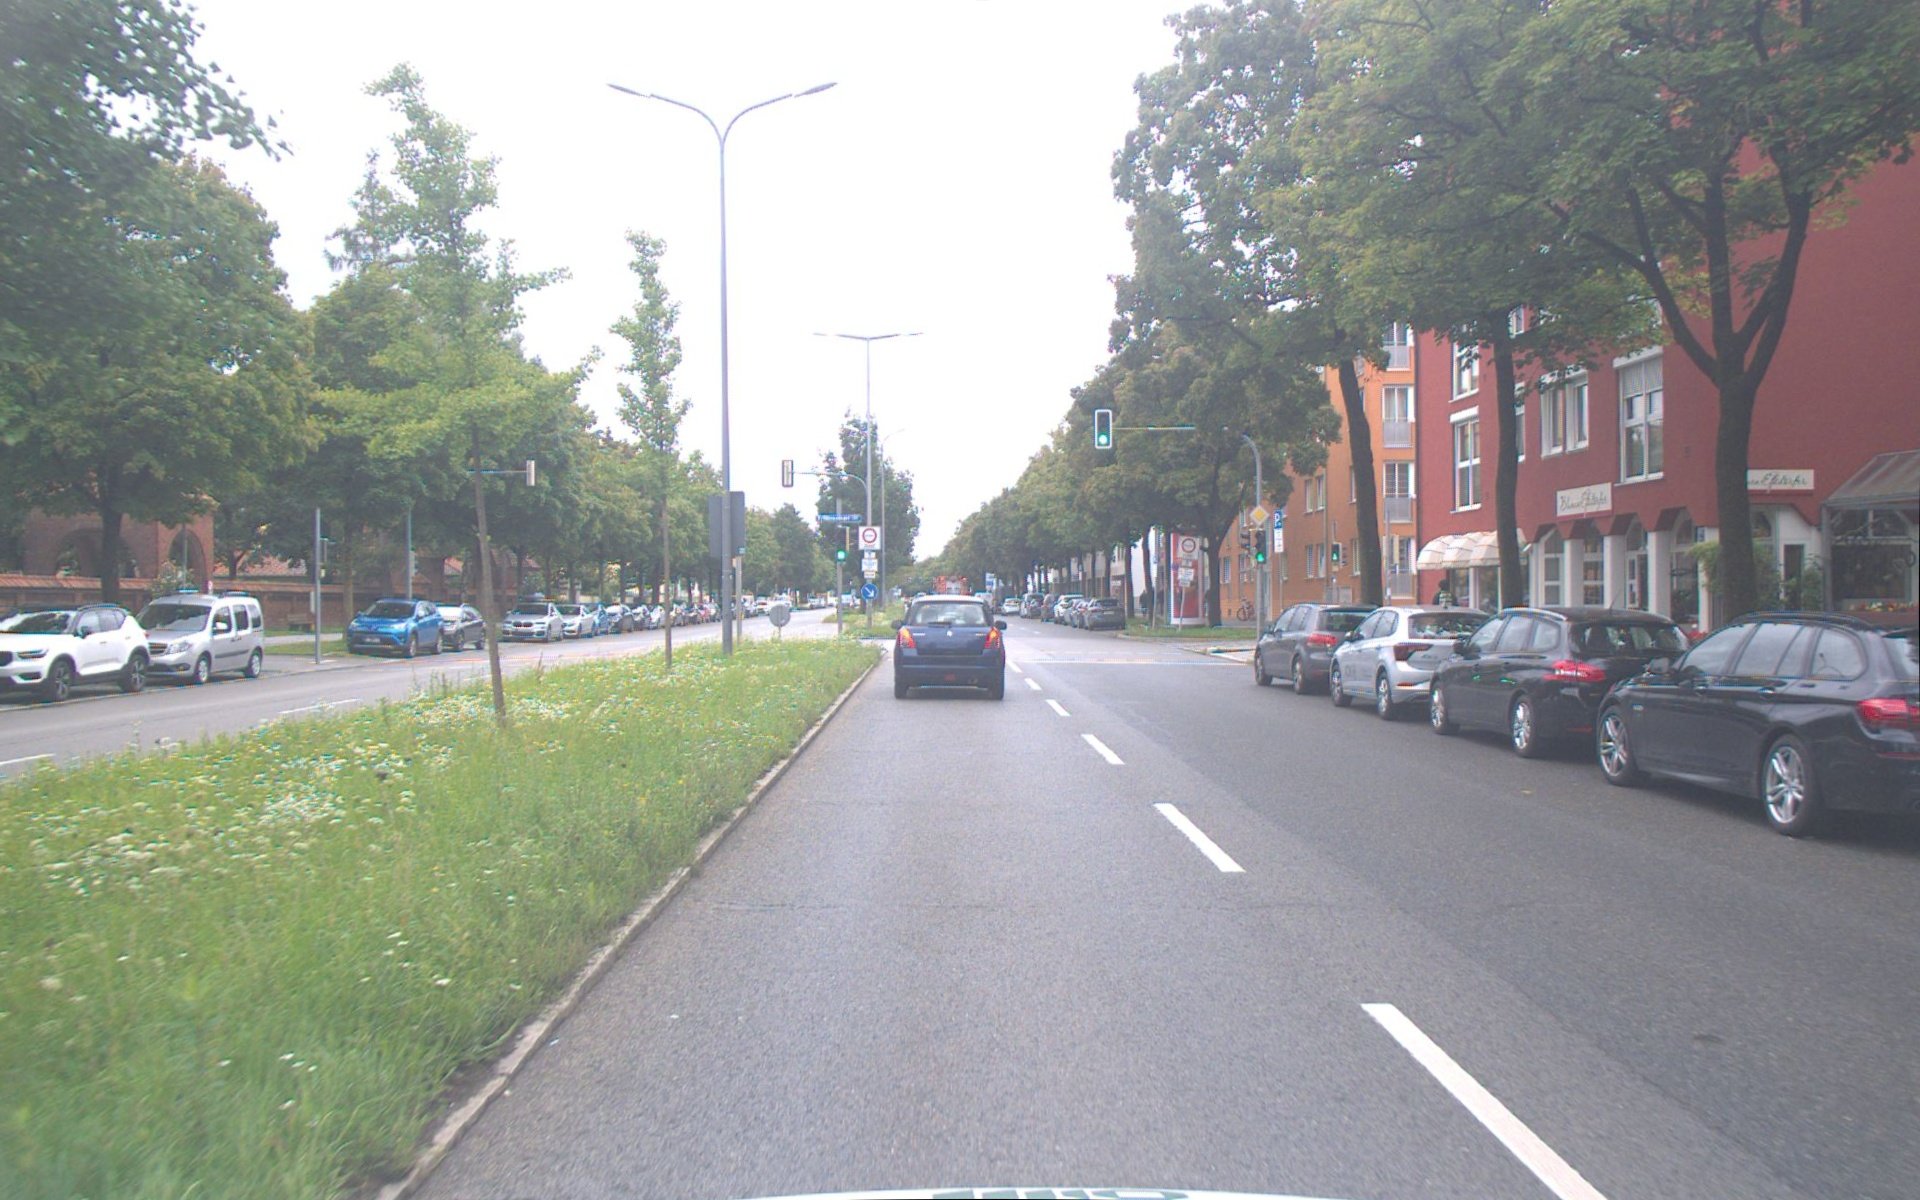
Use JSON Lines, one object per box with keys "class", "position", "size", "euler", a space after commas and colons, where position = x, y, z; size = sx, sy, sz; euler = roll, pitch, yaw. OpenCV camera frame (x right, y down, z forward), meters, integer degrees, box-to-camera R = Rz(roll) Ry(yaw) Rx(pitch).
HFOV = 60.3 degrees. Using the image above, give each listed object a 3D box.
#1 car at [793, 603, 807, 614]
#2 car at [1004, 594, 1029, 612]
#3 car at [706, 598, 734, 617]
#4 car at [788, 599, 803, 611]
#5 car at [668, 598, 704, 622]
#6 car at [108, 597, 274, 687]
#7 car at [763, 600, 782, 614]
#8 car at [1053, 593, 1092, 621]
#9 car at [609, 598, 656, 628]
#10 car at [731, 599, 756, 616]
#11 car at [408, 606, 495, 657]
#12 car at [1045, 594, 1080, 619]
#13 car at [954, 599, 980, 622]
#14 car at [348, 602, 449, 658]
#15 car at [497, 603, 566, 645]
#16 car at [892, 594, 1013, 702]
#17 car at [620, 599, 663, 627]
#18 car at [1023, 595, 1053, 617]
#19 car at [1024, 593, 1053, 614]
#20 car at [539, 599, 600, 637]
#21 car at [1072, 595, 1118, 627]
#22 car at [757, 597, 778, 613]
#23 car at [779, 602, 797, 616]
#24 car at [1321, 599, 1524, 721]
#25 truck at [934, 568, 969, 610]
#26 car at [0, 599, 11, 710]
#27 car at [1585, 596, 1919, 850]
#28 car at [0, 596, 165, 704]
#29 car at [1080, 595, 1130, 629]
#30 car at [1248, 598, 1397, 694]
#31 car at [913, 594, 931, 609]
{"class": "car", "position": [-23.512, 1.280, 243.589], "size": [1.765, 1.561, 3.999], "euler": [-1, 0, -1]}
{"class": "car", "position": [4.873, 0.265, 143.164], "size": [1.953, 1.557, 3.999], "euler": [-1, 0, -1]}
{"class": "car", "position": [-19.756, 0.608, 136.513], "size": [1.765, 1.561, 3.999], "euler": [-1, 0, -1]}
{"class": "car", "position": [-22.171, 0.677, 222.943], "size": [1.765, 1.561, 3.999], "euler": [-1, 0, -1]}
{"class": "car", "position": [-18.298, 0.669, 110.568], "size": [1.765, 1.561, 3.999], "euler": [0, 0, -1]}
{"class": "car", "position": [-16.115, 0.834, 34.872], "size": [1.672, 1.764, 3.999], "euler": [-1, 0, -1]}
{"class": "car", "position": [-21.486, 0.751, 189.610], "size": [1.765, 1.561, 3.999], "euler": [-1, 0, -1]}
{"class": "car", "position": [6.538, 0.394, 96.333], "size": [1.953, 1.557, 3.999], "euler": [-1, 0, -1]}
{"class": "car", "position": [-17.752, 0.697, 89.824], "size": [1.765, 1.561, 3.999], "euler": [-1, 0, -1]}
{"class": "car", "position": [-19.538, 0.665, 149.459], "size": [1.765, 1.561, 3.999], "euler": [-1, 0, -1]}
{"class": "car", "position": [-16.774, 1.011, 54.716], "size": [1.672, 1.561, 3.999], "euler": [-1, 0, -1]}
{"class": "car", "position": [6.583, 0.413, 106.935], "size": [1.953, 1.557, 3.999], "euler": [-1, 0, -1]}
{"class": "car", "position": [0.486, 0.734, 119.103], "size": [1.784, 1.503, 4.690], "euler": [2, 0, -1]}
{"class": "car", "position": [-16.624, 0.862, 49.179], "size": [1.672, 1.561, 3.999], "euler": [-1, 0, -1]}
{"class": "car", "position": [-17.021, 0.925, 65.888], "size": [1.765, 1.561, 3.999], "euler": [-1, 0, -1]}
{"class": "car", "position": [-0.103, 0.675, 25.594], "size": [1.717, 1.531, 4.000], "euler": [0, 0, 0]}
{"class": "car", "position": [-18.235, 0.715, 94.832], "size": [1.765, 1.561, 3.999], "euler": [-1, 0, -1]}
{"class": "car", "position": [5.630, 0.436, 119.528], "size": [1.953, 1.557, 3.999], "euler": [-1, 0, -1]}
{"class": "car", "position": [5.877, 0.265, 124.279], "size": [1.953, 1.557, 3.999], "euler": [-1, 0, -1]}
{"class": "car", "position": [-17.040, 0.770, 72.333], "size": [1.765, 1.561, 3.999], "euler": [-1, 0, -1]}
{"class": "car", "position": [6.825, 0.538, 84.089], "size": [1.953, 1.557, 3.999], "euler": [-1, 0, -1]}
{"class": "car", "position": [-19.538, 0.488, 168.101], "size": [1.765, 1.561, 3.999], "euler": [-1, 0, -1]}
{"class": "car", "position": [-20.443, 1.096, 197.122], "size": [1.765, 1.561, 3.999], "euler": [-1, 0, -1]}
{"class": "car", "position": [6.173, 0.742, 22.530], "size": [1.660, 1.477, 4.123], "euler": [-1, 0, 1]}
{"class": "truck", "position": [-0.708, -0.941, 149.171], "size": [2.979, 3.619, 13.674], "euler": [0, 0, 0]}
{"class": "car", "position": [-16.291, 0.872, 24.377], "size": [2.142, 1.766, 4.575], "euler": [0, 0, -3]}
{"class": "car", "position": [6.297, 0.722, 12.131], "size": [1.620, 1.477, 4.708], "euler": [-1, 0, 0]}
{"class": "car", "position": [-16.296, 0.819, 29.570], "size": [2.142, 1.766, 4.575], "euler": [0, 0, -3]}
{"class": "car", "position": [6.826, 0.538, 78.099], "size": [1.953, 1.557, 3.999], "euler": [-1, 0, -1]}
{"class": "car", "position": [6.035, 0.717, 27.971], "size": [1.660, 1.477, 4.123], "euler": [-1, 0, 1]}
{"class": "car", "position": [-3.757, 0.145, 164.319], "size": [1.683, 1.527, 4.300], "euler": [0, 0, -1]}
